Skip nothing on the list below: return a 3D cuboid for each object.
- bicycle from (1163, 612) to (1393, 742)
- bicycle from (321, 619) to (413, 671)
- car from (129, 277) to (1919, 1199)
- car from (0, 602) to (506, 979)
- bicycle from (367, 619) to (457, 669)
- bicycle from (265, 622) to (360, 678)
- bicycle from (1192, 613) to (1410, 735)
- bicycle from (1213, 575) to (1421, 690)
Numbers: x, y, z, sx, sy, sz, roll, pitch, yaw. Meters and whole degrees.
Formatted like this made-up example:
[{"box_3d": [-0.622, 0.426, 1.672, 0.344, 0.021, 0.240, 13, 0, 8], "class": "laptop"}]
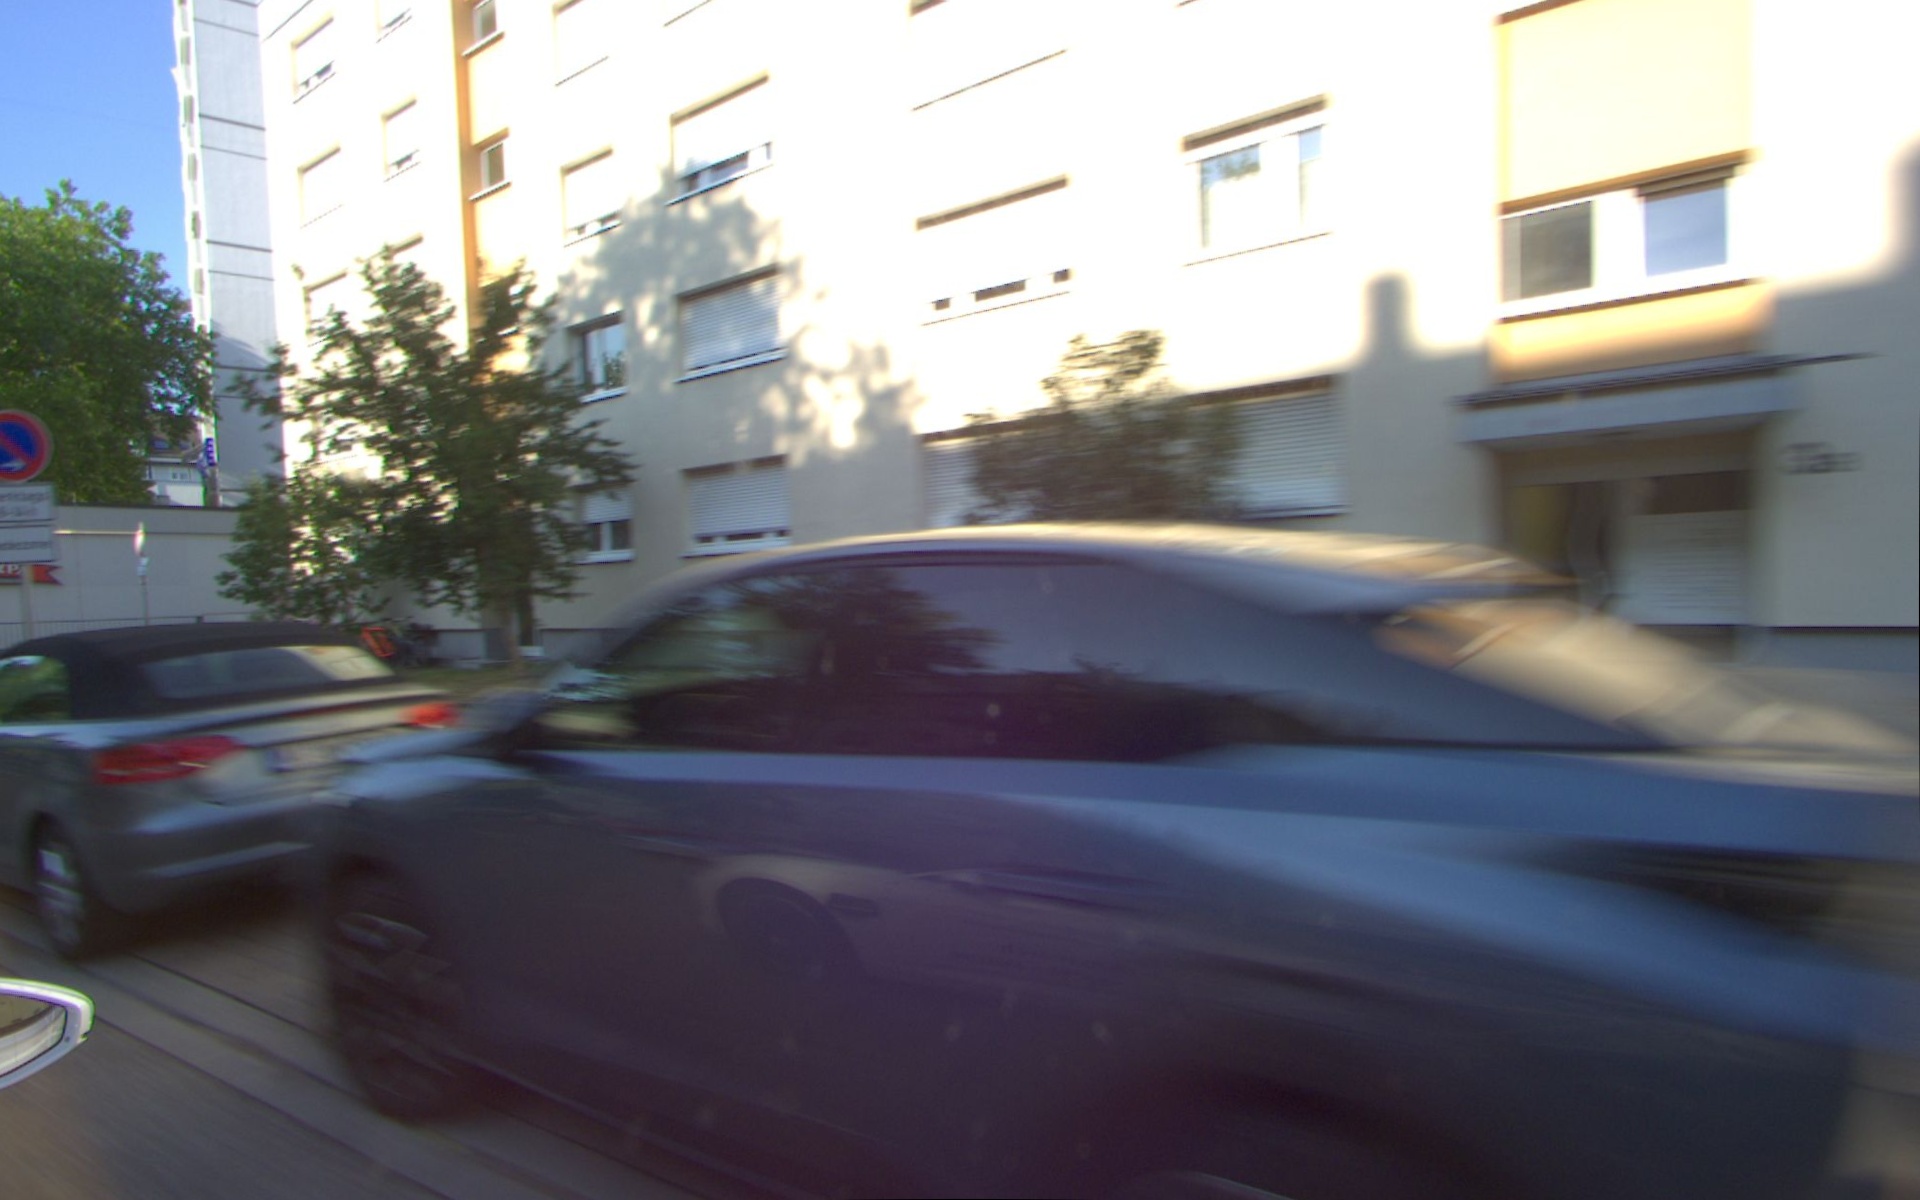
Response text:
[{"box_3d": [2.752, 0.648, 8.749, 1.808, 1.034, 0.610, -2, -1, 35], "class": "bicycle"}, {"box_3d": [-11.789, 0.870, 19.888, 2.197, 0.938, 0.635, 1, 1, 32], "class": "bicycle"}, {"box_3d": [-0.322, 0.589, 2.948, 4.611, 1.680, 1.923, -2, -1, 32], "class": "car"}, {"box_3d": [-4.603, 0.824, 5.762, 3.943, 1.492, 1.737, -2, -1, 32], "class": "car"}, {"box_3d": [-11.256, 0.879, 20.549, 2.197, 0.938, 0.635, 1, 1, 32], "class": "bicycle"}, {"box_3d": [-12.212, 0.922, 18.854, 2.197, 0.938, 0.635, 1, 1, 32], "class": "bicycle"}, {"box_3d": [3.128, 0.659, 9.273, 1.808, 1.034, 0.610, -2, -1, 35], "class": "bicycle"}, {"box_3d": [3.466, 0.326, 9.787, 1.808, 1.034, 0.610, -2, -1, 35], "class": "bicycle"}]
